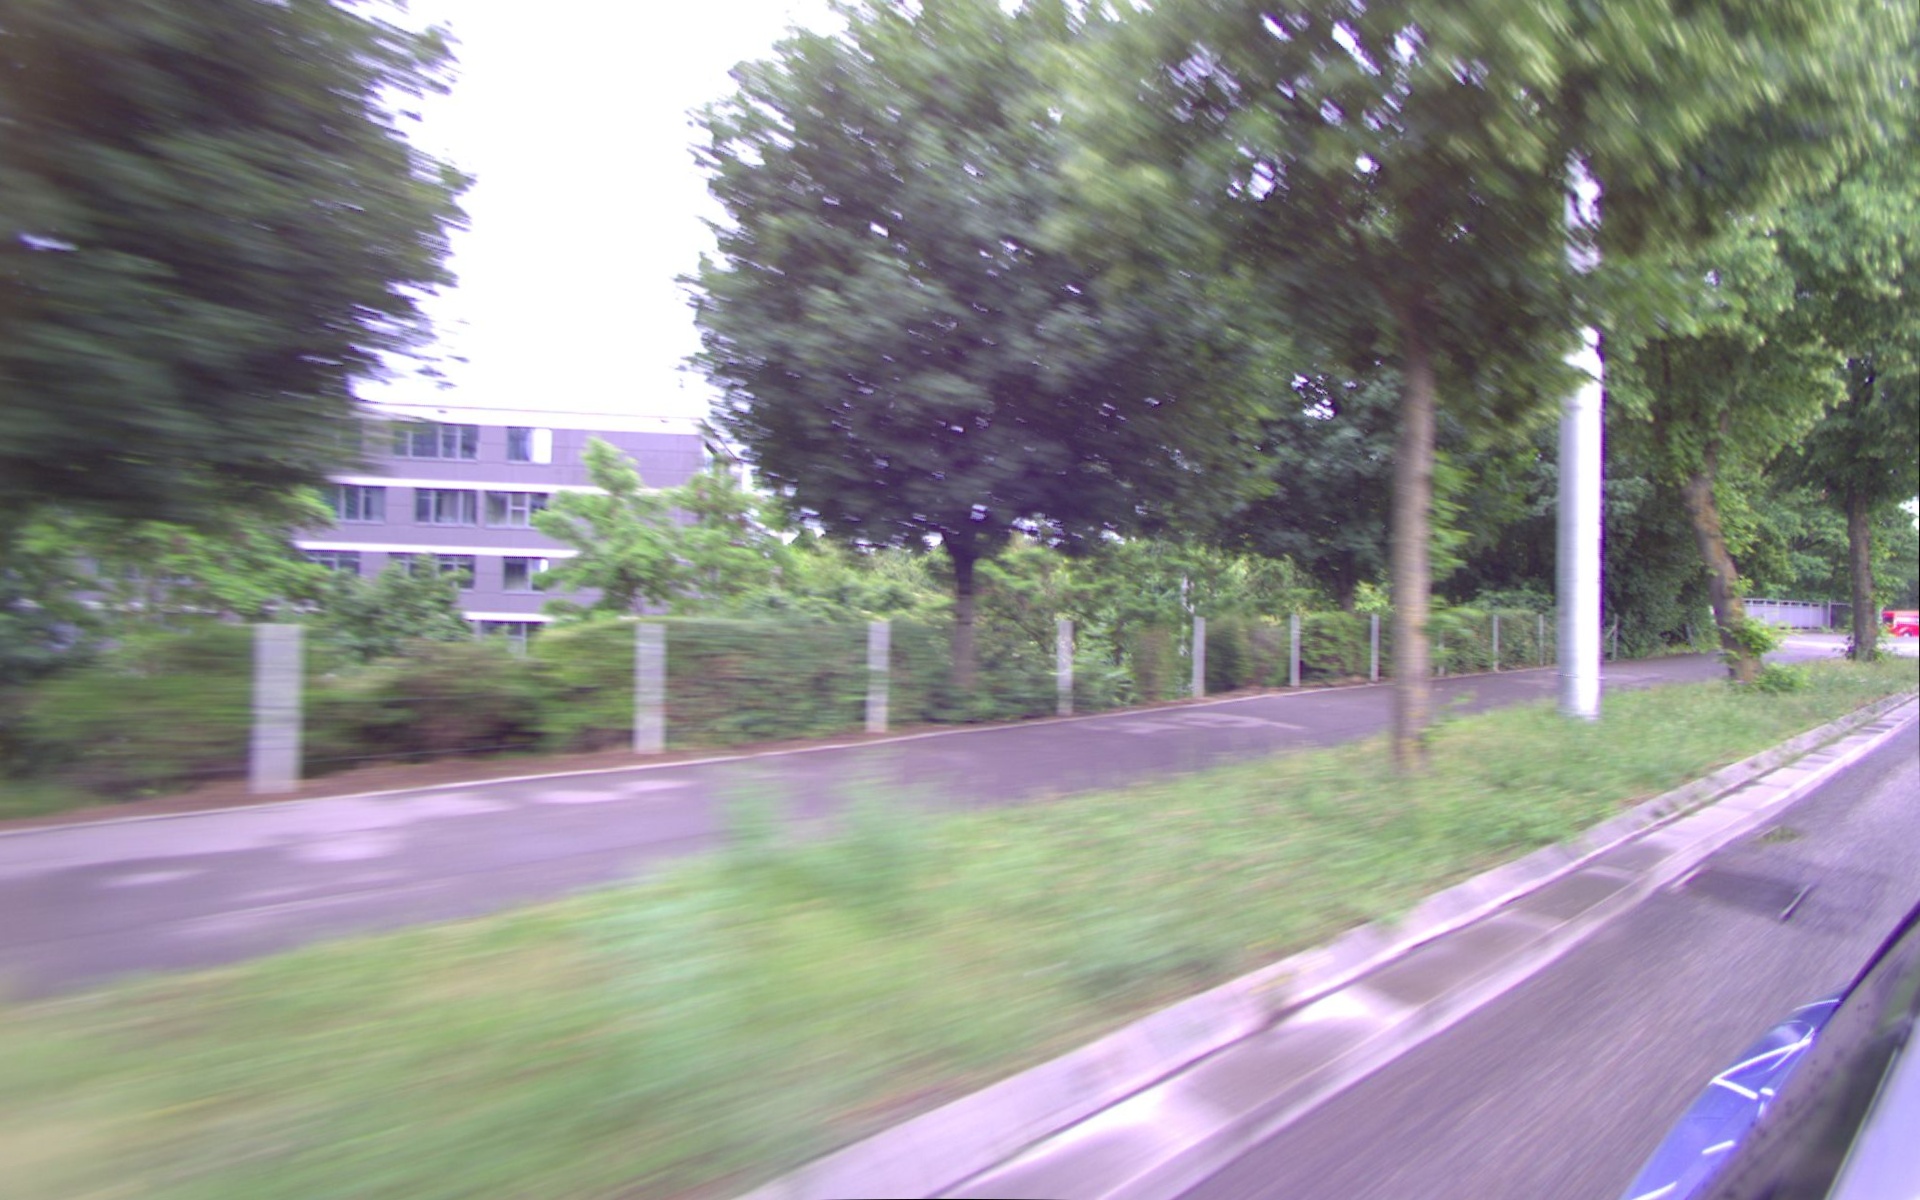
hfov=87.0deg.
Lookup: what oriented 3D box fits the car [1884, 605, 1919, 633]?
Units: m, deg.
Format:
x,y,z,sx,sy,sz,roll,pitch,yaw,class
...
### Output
x,y,z,sx,sy,sz,roll,pitch,yaw,class
78.210,1.520,81.863,4.937,2.220,1.999,1,0,2,car
